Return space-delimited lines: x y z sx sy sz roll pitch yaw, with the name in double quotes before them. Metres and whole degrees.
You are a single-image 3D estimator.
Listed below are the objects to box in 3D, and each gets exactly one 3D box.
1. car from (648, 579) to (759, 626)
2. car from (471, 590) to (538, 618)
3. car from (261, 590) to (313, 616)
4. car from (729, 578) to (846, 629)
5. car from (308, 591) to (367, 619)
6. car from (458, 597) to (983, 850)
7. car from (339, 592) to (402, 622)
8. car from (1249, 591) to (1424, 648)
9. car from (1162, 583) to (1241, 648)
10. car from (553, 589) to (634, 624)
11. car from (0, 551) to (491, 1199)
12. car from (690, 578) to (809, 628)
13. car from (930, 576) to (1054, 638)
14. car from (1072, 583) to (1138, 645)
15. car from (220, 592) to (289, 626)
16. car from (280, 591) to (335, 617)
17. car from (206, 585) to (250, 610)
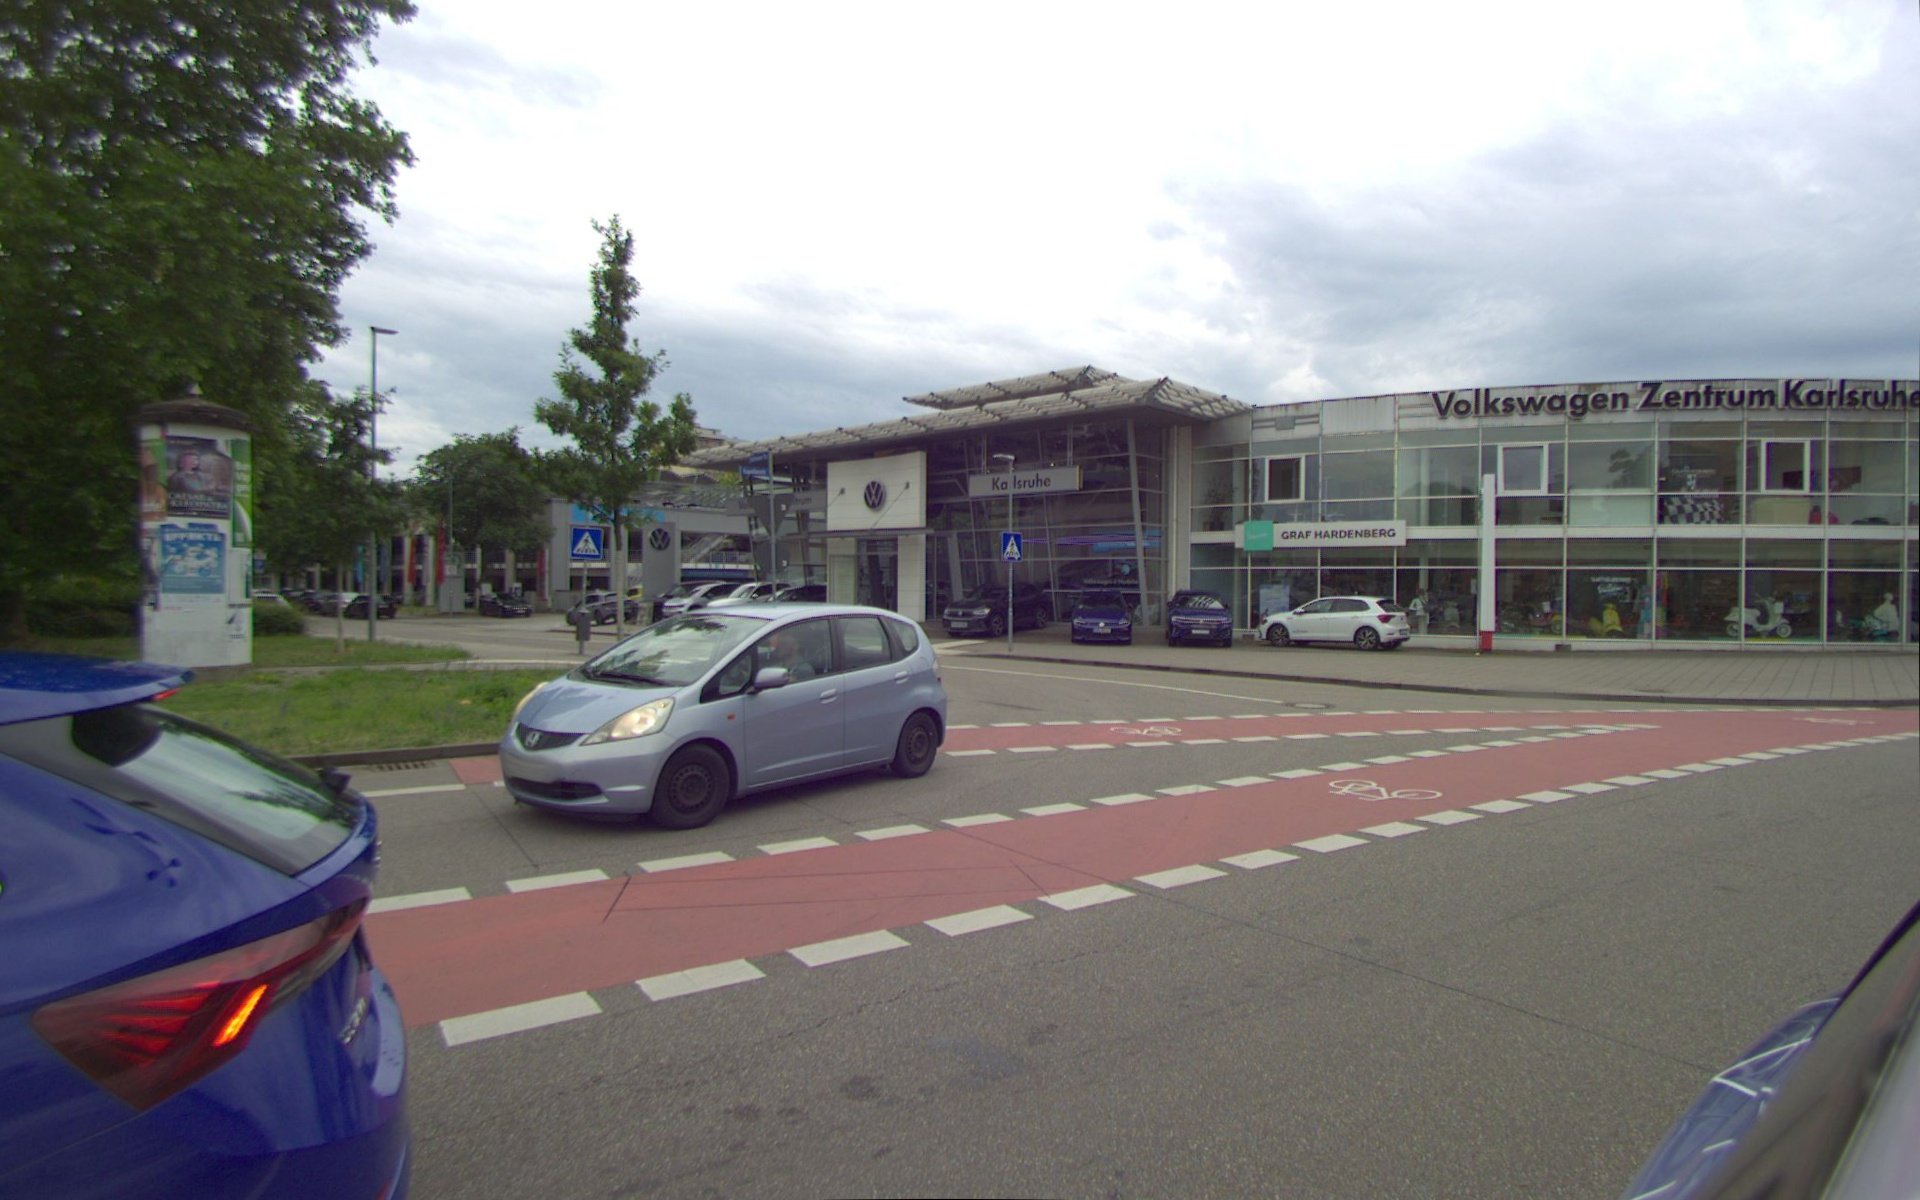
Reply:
"car" -11.256 0.063 44.588 1.862 1.720 4.411 0 4 42
"car" -26.978 0.206 59.944 4.455 1.567 1.872 1 2 40
"car" -47.025 0.188 70.715 4.455 1.644 1.835 1 2 40
"car" -6.903 0.088 40.835 1.889 1.717 4.412 -1 3 41
"car" -39.413 0.305 64.033 4.455 1.644 1.835 1 2 40
"car" -1.644 0.729 8.216 1.743 1.485 4.047 0 1 35
"car" -35.079 0.376 60.147 4.455 1.644 1.835 1 2 40
"car" 10.391 0.489 28.139 1.754 1.471 4.250 0 0 -45
"car" 6.876 0.380 29.195 1.870 1.581 4.212 0 3 9
"car" -17.599 0.300 48.491 3.995 1.583 1.892 0 1 40
"car" -3.008 0.697 0.993 4.382 1.507 1.785 -1 1 -36
"car" -8.825 0.090 42.763 1.853 1.720 4.707 -1 4 42
"car" 1.117 0.179 33.069 1.849 1.652 4.454 -1 3 36
"car" 4.273 0.337 30.212 1.827 1.522 4.333 0 3 7
"car" -35.111 0.444 50.326 4.458 1.567 1.833 1 -1 42
"car" -43.448 0.250 67.346 4.455 1.644 1.835 1 2 40
"car" -59.806 -0.226 82.639 4.455 2.010 1.835 1 2 40
